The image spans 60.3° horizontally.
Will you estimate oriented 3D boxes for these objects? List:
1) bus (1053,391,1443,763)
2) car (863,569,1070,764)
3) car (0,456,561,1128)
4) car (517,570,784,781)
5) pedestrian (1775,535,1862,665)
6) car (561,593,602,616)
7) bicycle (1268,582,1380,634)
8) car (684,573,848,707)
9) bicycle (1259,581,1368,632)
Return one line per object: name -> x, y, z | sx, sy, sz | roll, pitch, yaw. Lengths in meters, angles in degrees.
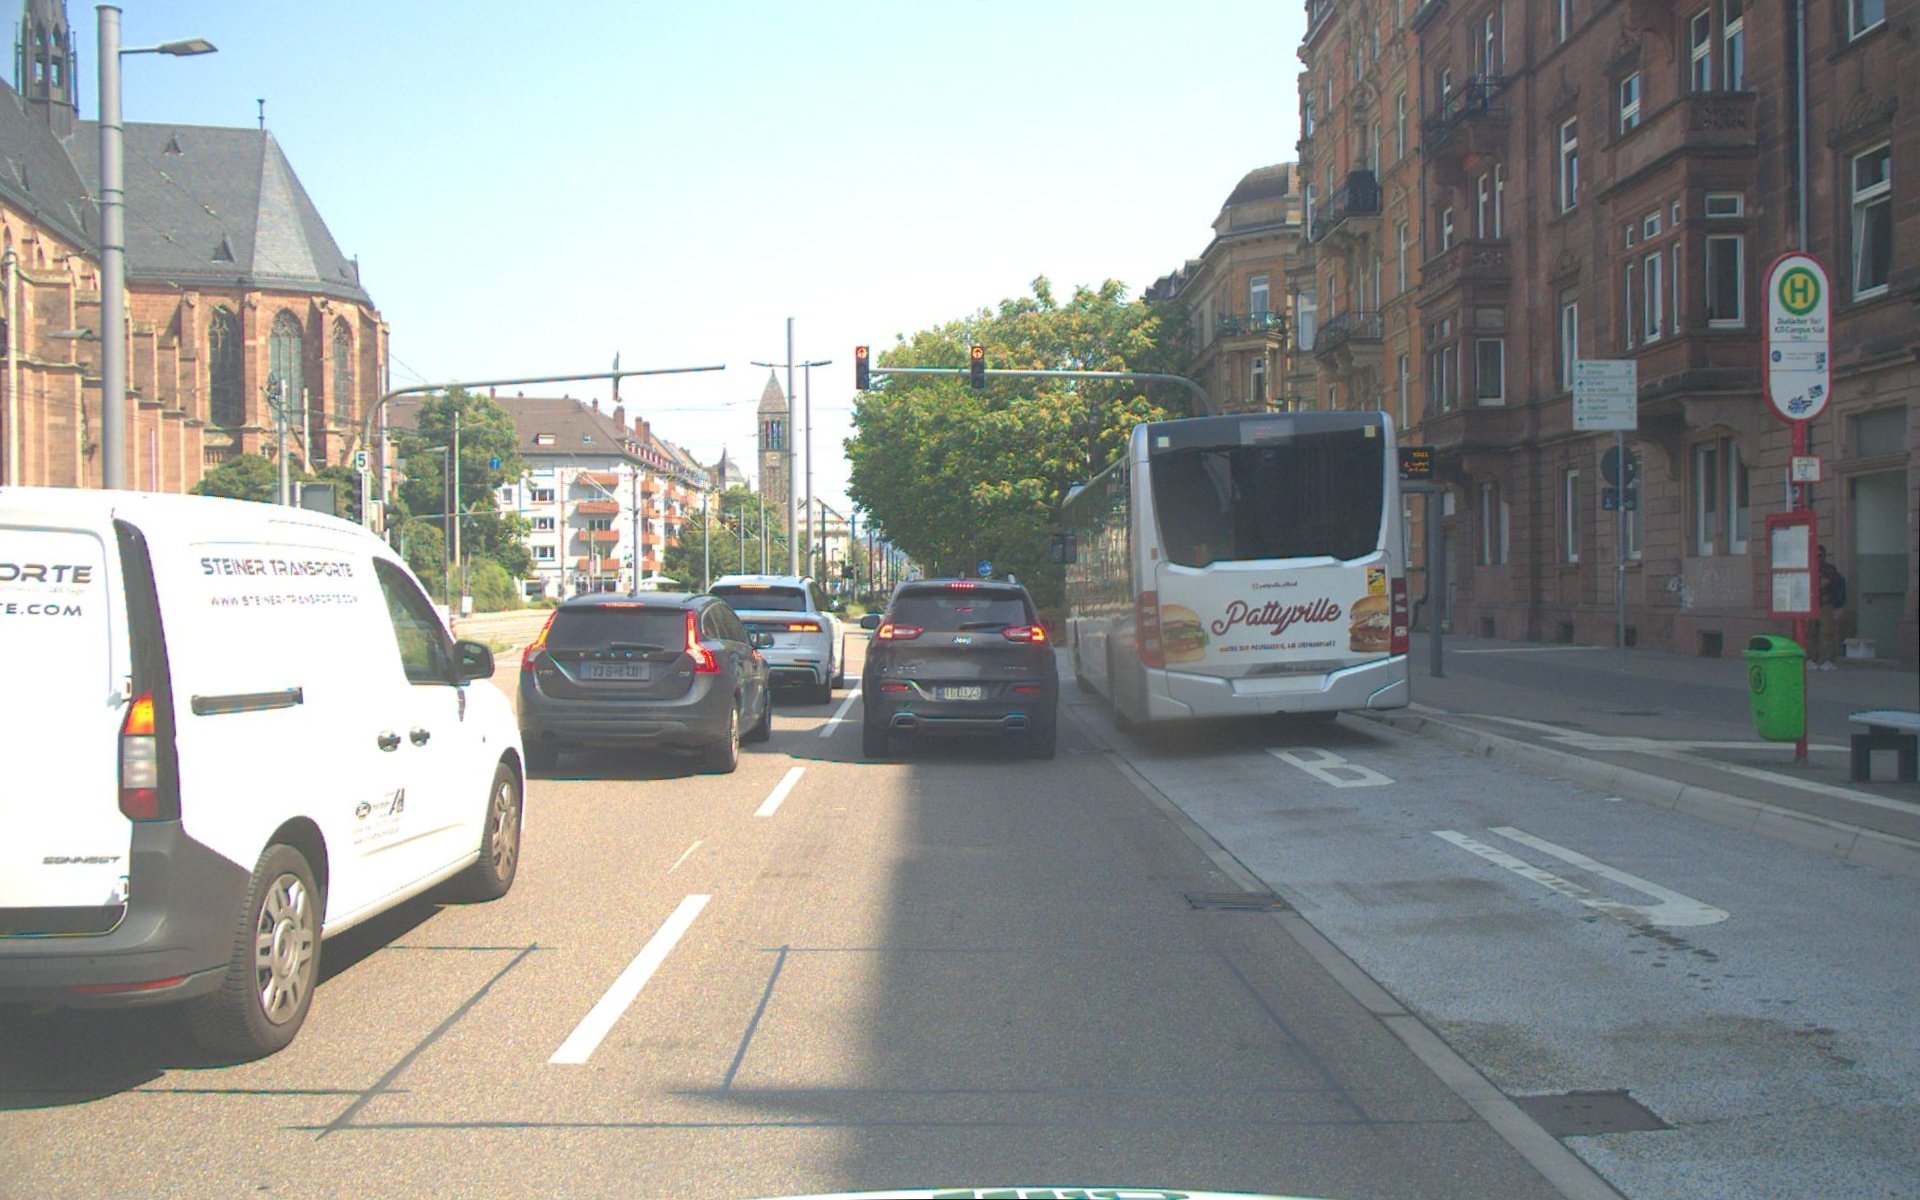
bus -> 2.902, -0.233, 20.710 | 2.687, 3.161, 11.956 | -3, 0, 0
car -> 0.049, 0.565, 16.608 | 1.795, 1.680, 4.308 | 1, 0, 0
car -> -2.982, 0.516, 6.674 | 1.711, 1.852, 4.239 | 0, 0, 0
car -> -2.655, 0.575, 15.121 | 1.712, 1.642, 4.307 | 0, 0, -1
pedestrian -> 12.231, -0.007, 23.574 | 0.858, 1.809, 0.736 | -1, 0, -29
car -> -25.625, 0.280, 112.175 | 1.710, 1.460, 4.573 | -2, 1, 0
bicycle -> 10.281, 0.210, 46.780 | 2.933, 1.395, 0.871 | -1, 0, -2
car -> -2.579, 0.486, 22.934 | 1.864, 1.680, 4.307 | 0, 1, -1
bicycle -> 10.165, 0.189, 47.683 | 2.933, 1.395, 0.871 | -1, 0, -2
